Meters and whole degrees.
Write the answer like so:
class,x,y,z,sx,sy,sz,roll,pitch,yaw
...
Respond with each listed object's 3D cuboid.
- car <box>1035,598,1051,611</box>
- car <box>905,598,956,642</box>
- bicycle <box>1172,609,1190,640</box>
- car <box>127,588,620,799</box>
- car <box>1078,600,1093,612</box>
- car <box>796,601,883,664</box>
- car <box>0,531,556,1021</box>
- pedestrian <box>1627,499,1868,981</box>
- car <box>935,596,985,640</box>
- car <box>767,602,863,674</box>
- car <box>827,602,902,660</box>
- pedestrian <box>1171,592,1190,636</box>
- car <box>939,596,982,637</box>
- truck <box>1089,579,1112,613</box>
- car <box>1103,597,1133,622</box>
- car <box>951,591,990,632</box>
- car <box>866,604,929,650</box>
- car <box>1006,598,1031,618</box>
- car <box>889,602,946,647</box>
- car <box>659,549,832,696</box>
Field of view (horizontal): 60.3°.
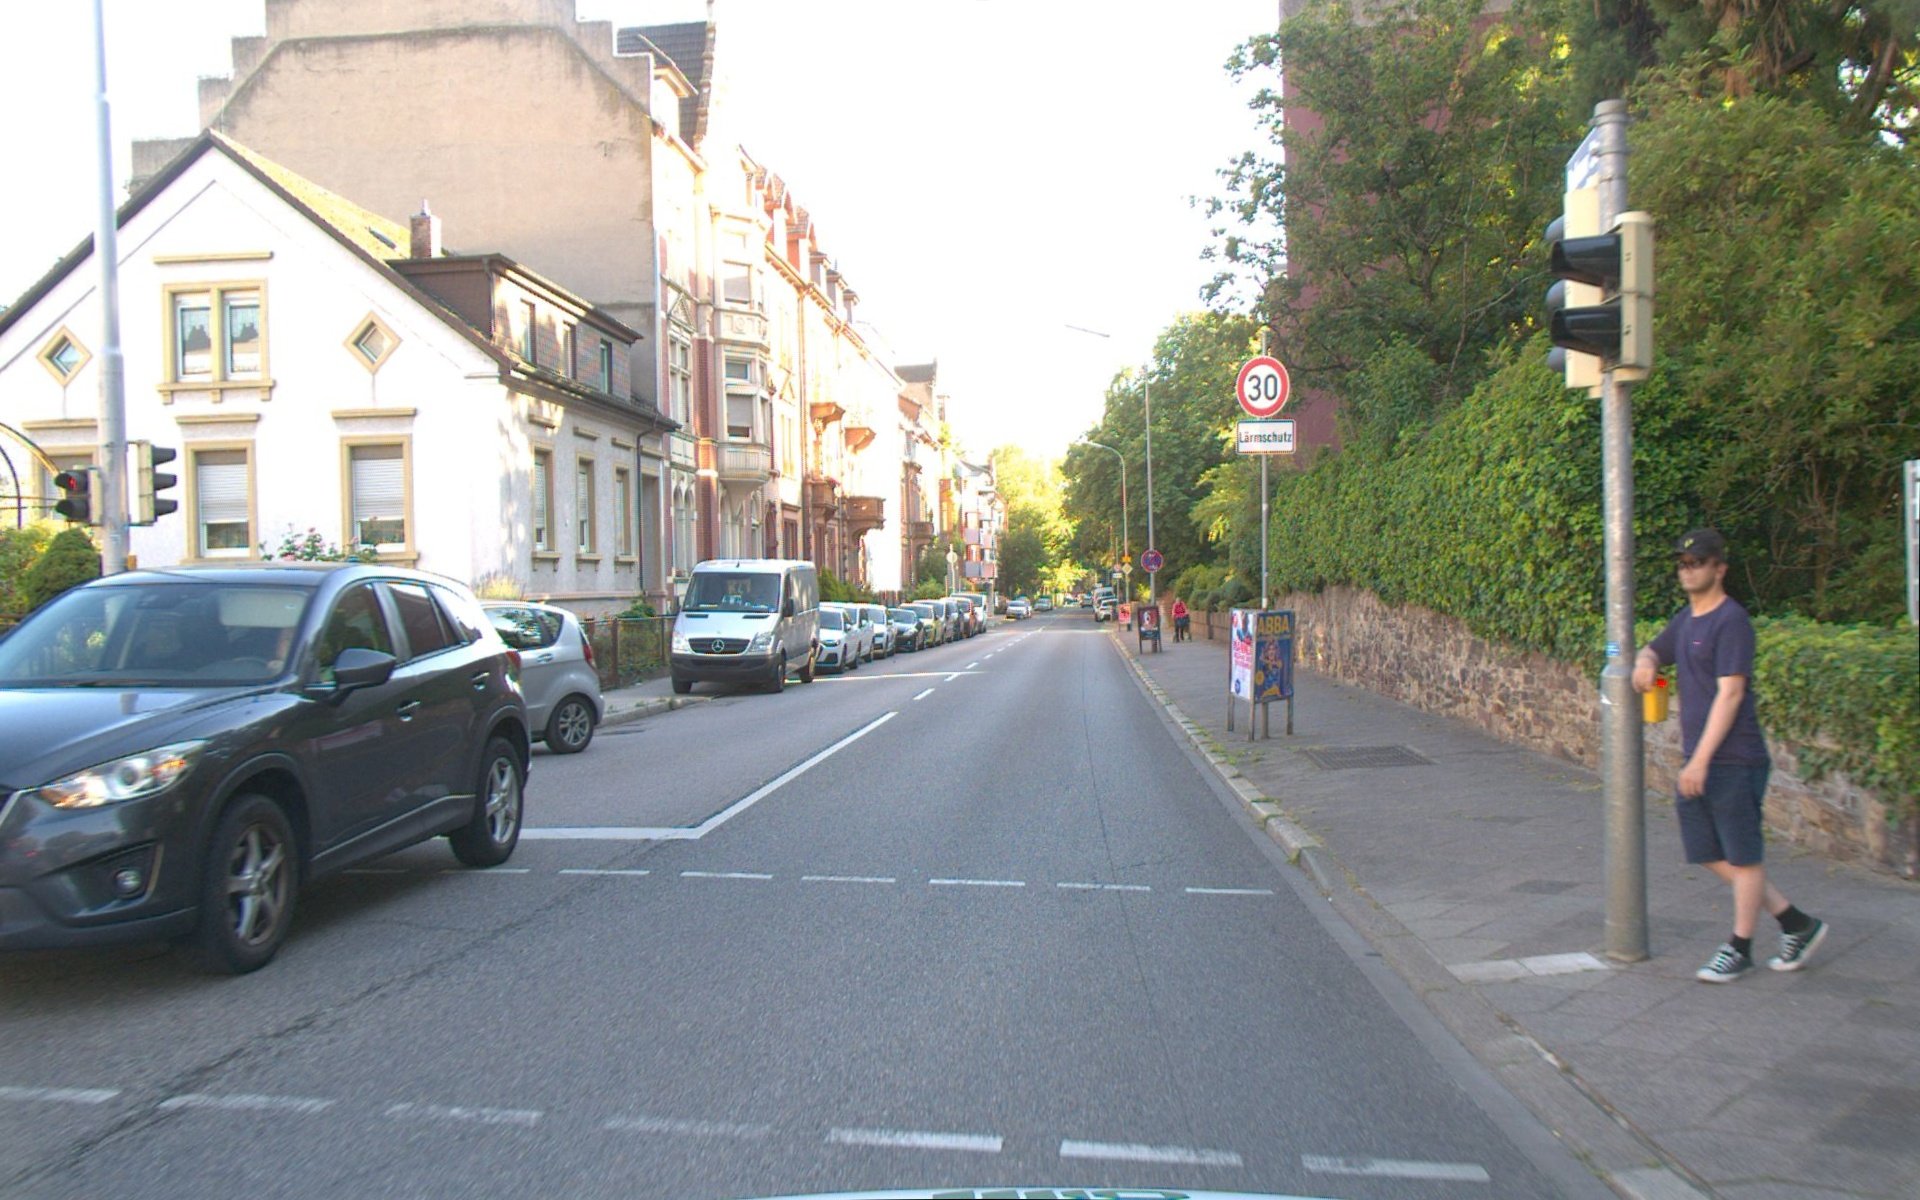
class,x,y,z,sx,sy,sz,roll,pitch,yaw
car,10.627,0.580,211.686,1.951,1.517,4.473,-2,1,4
car,-1.099,0.746,63.327,1.667,1.611,3.636,0,0,3
bicycle,7.246,0.800,54.123,0.554,0.987,0.492,0,1,4
car,-5.442,0.751,15.926,1.917,1.677,4.275,0,1,30
car,17.770,0.789,234.245,1.952,1.517,4.471,-2,1,1
car,-3.117,0.817,43.434,1.666,1.529,4.023,0,0,5
car,-3.556,0.561,7.856,1.912,1.677,4.286,0,1,5
pedestrian,2.967,0.503,6.280,0.589,1.722,0.612,-2,1,3
car,0.032,0.703,68.532,1.666,1.737,4.443,0,0,5
car,-3.271,0.830,37.963,1.667,1.529,3.825,0,0,3
car,-2.719,0.855,48.073,1.667,1.563,4.551,0,0,3
pedestrian,7.298,0.468,54.716,0.585,1.427,0.668,0,1,3
car,0.044,0.696,73.363,1.667,1.769,3.859,0,0,3
truck,13.039,-0.399,153.368,1.952,2.947,4.473,-2,1,4
car,10.709,0.648,112.102,1.951,1.544,4.003,-2,1,6
car,0.583,0.561,84.306,1.755,2.045,4.699,0,0,3
car,-1.983,0.851,53.271,1.667,1.390,3.861,0,0,3
car,5.162,0.684,145.179,1.951,1.517,4.473,-2,1,4
car,-1.464,0.859,58.328,1.667,1.529,4.074,0,-1,3
car,-3.906,0.366,31.271,2.024,2.503,6.017,0,0,5
